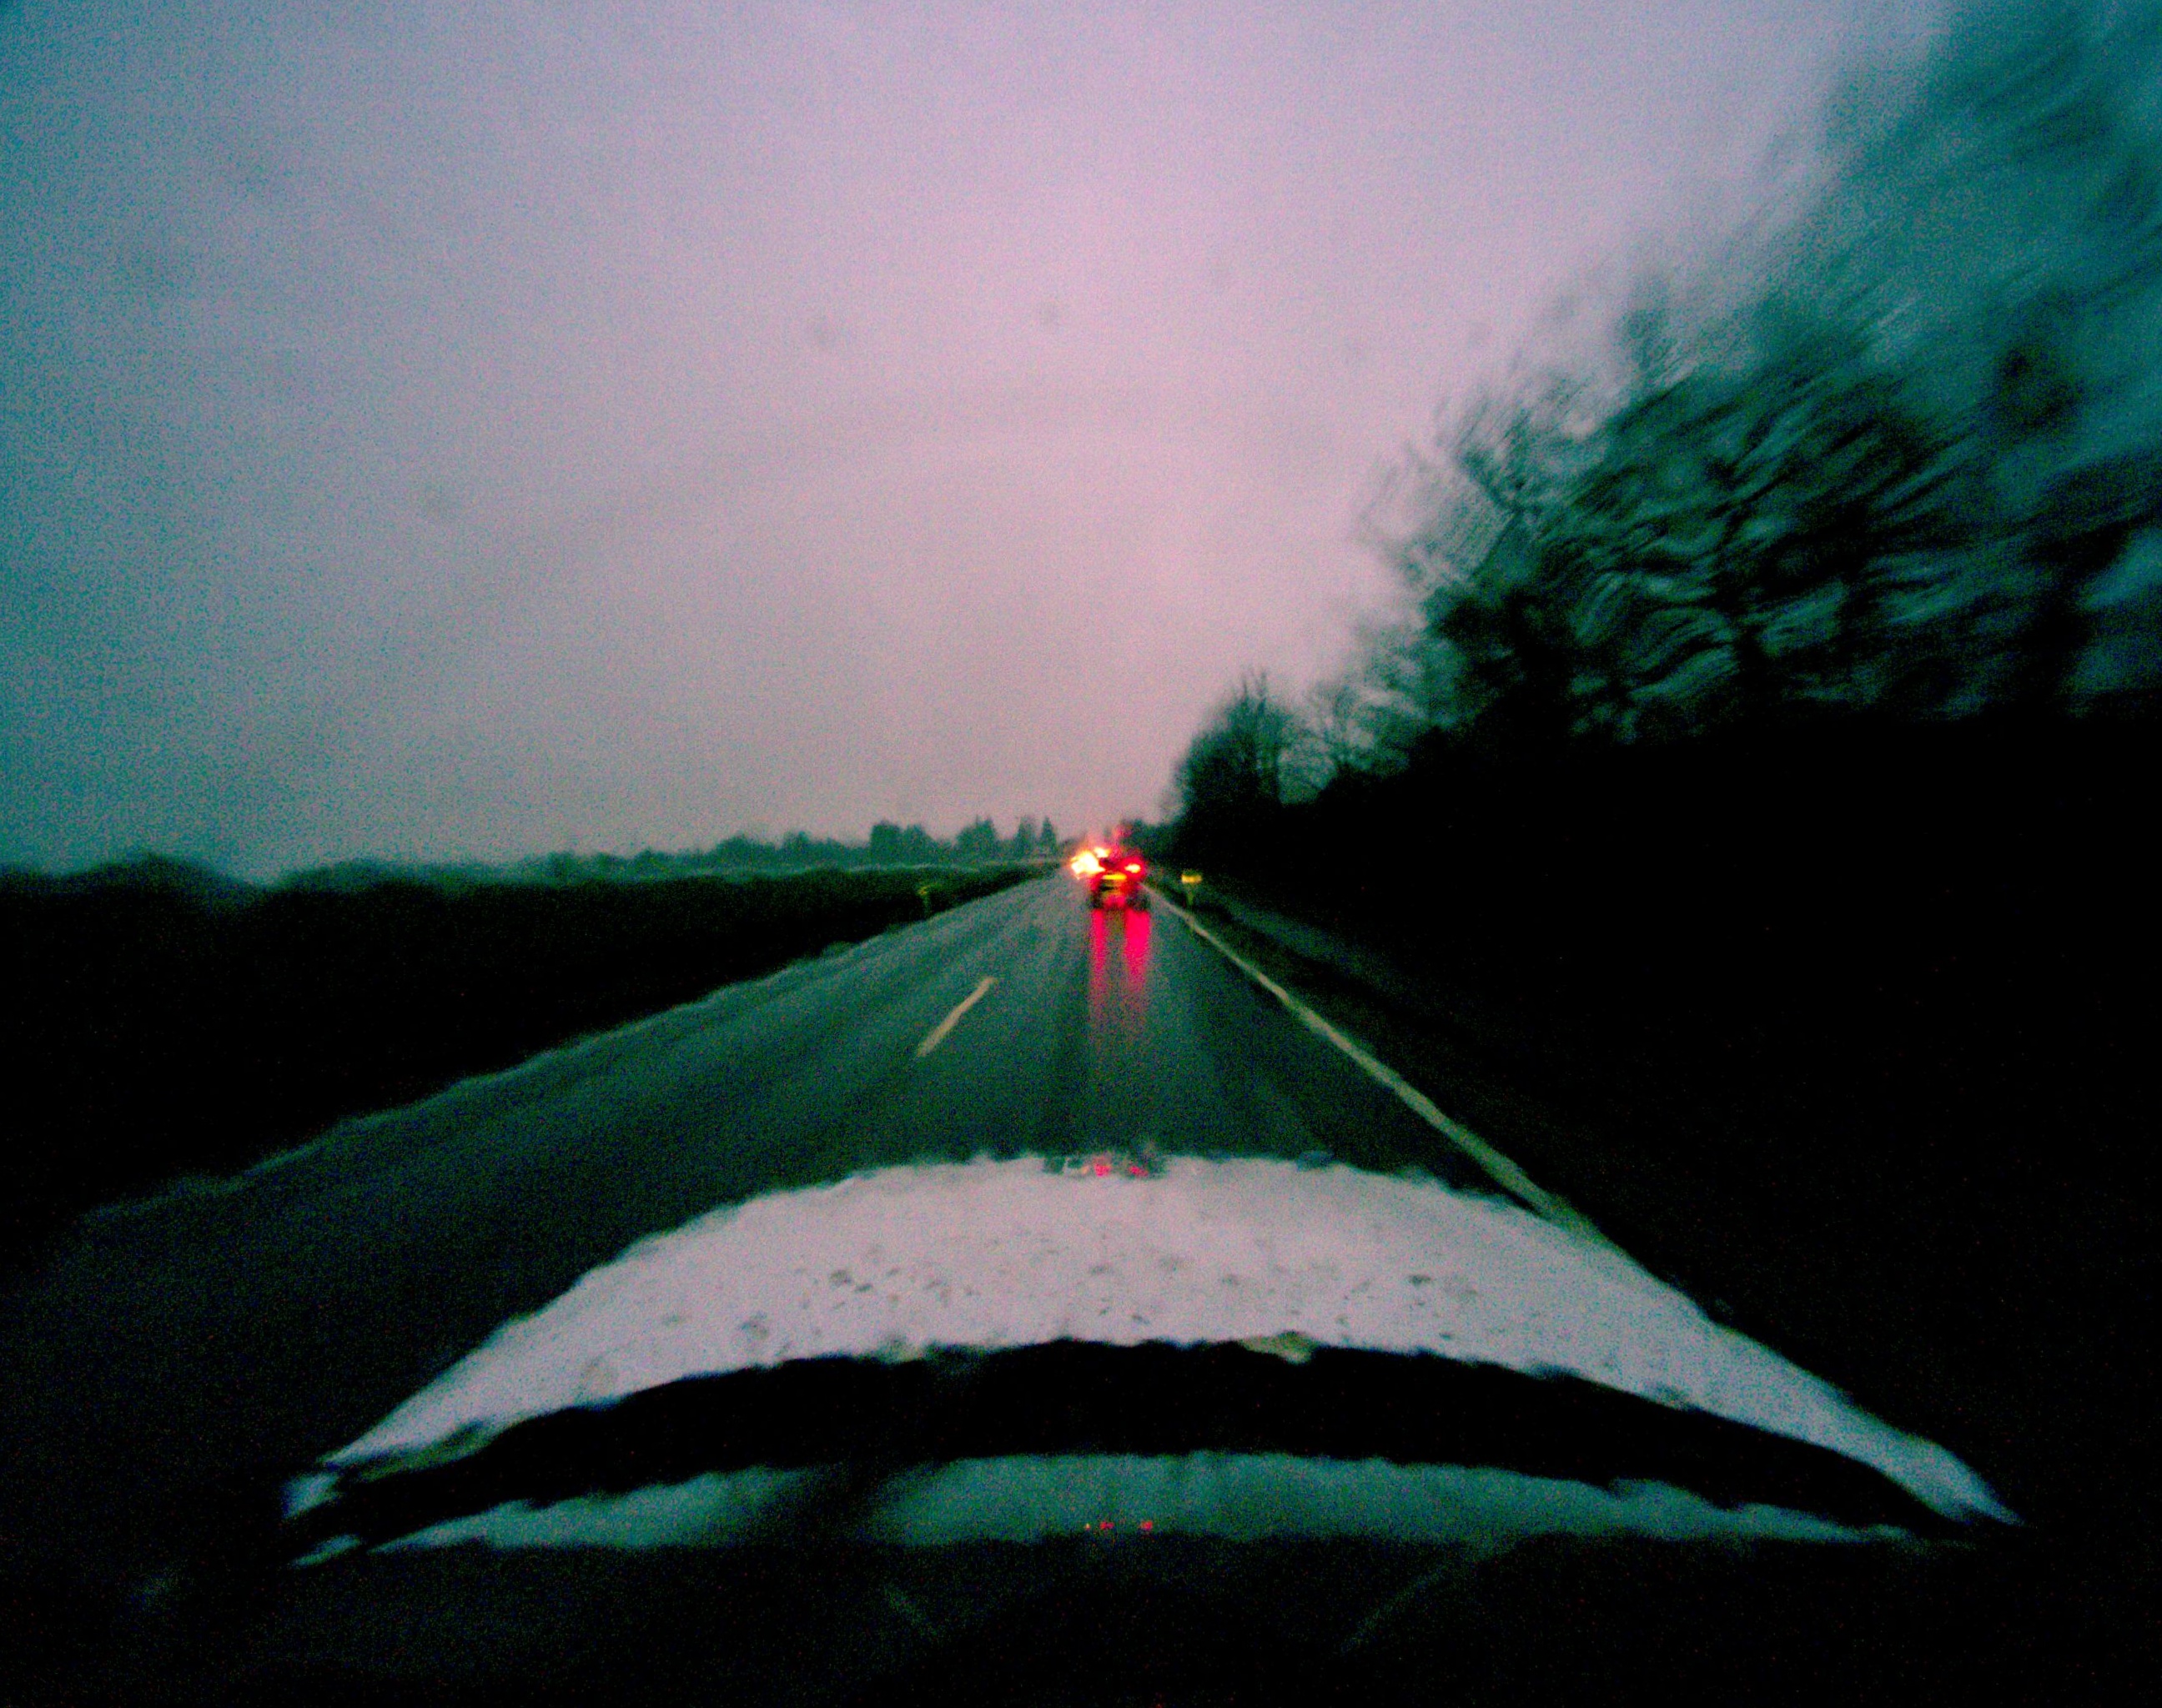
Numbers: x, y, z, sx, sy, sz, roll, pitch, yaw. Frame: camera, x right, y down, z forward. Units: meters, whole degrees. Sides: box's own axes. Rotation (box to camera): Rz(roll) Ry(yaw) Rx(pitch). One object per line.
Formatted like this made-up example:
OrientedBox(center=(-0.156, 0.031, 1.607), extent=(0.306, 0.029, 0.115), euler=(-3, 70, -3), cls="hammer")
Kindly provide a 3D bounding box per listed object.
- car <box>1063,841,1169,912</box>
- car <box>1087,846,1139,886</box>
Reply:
OrientedBox(center=(1.198, 0.682, 28.263), extent=(3.152, 2.035, 6.855), euler=(-2, 0, 2), cls="car")
OrientedBox(center=(1.870, 0.643, 47.507), extent=(2.745, 2.035, 6.594), euler=(-2, 0, 2), cls="car")
